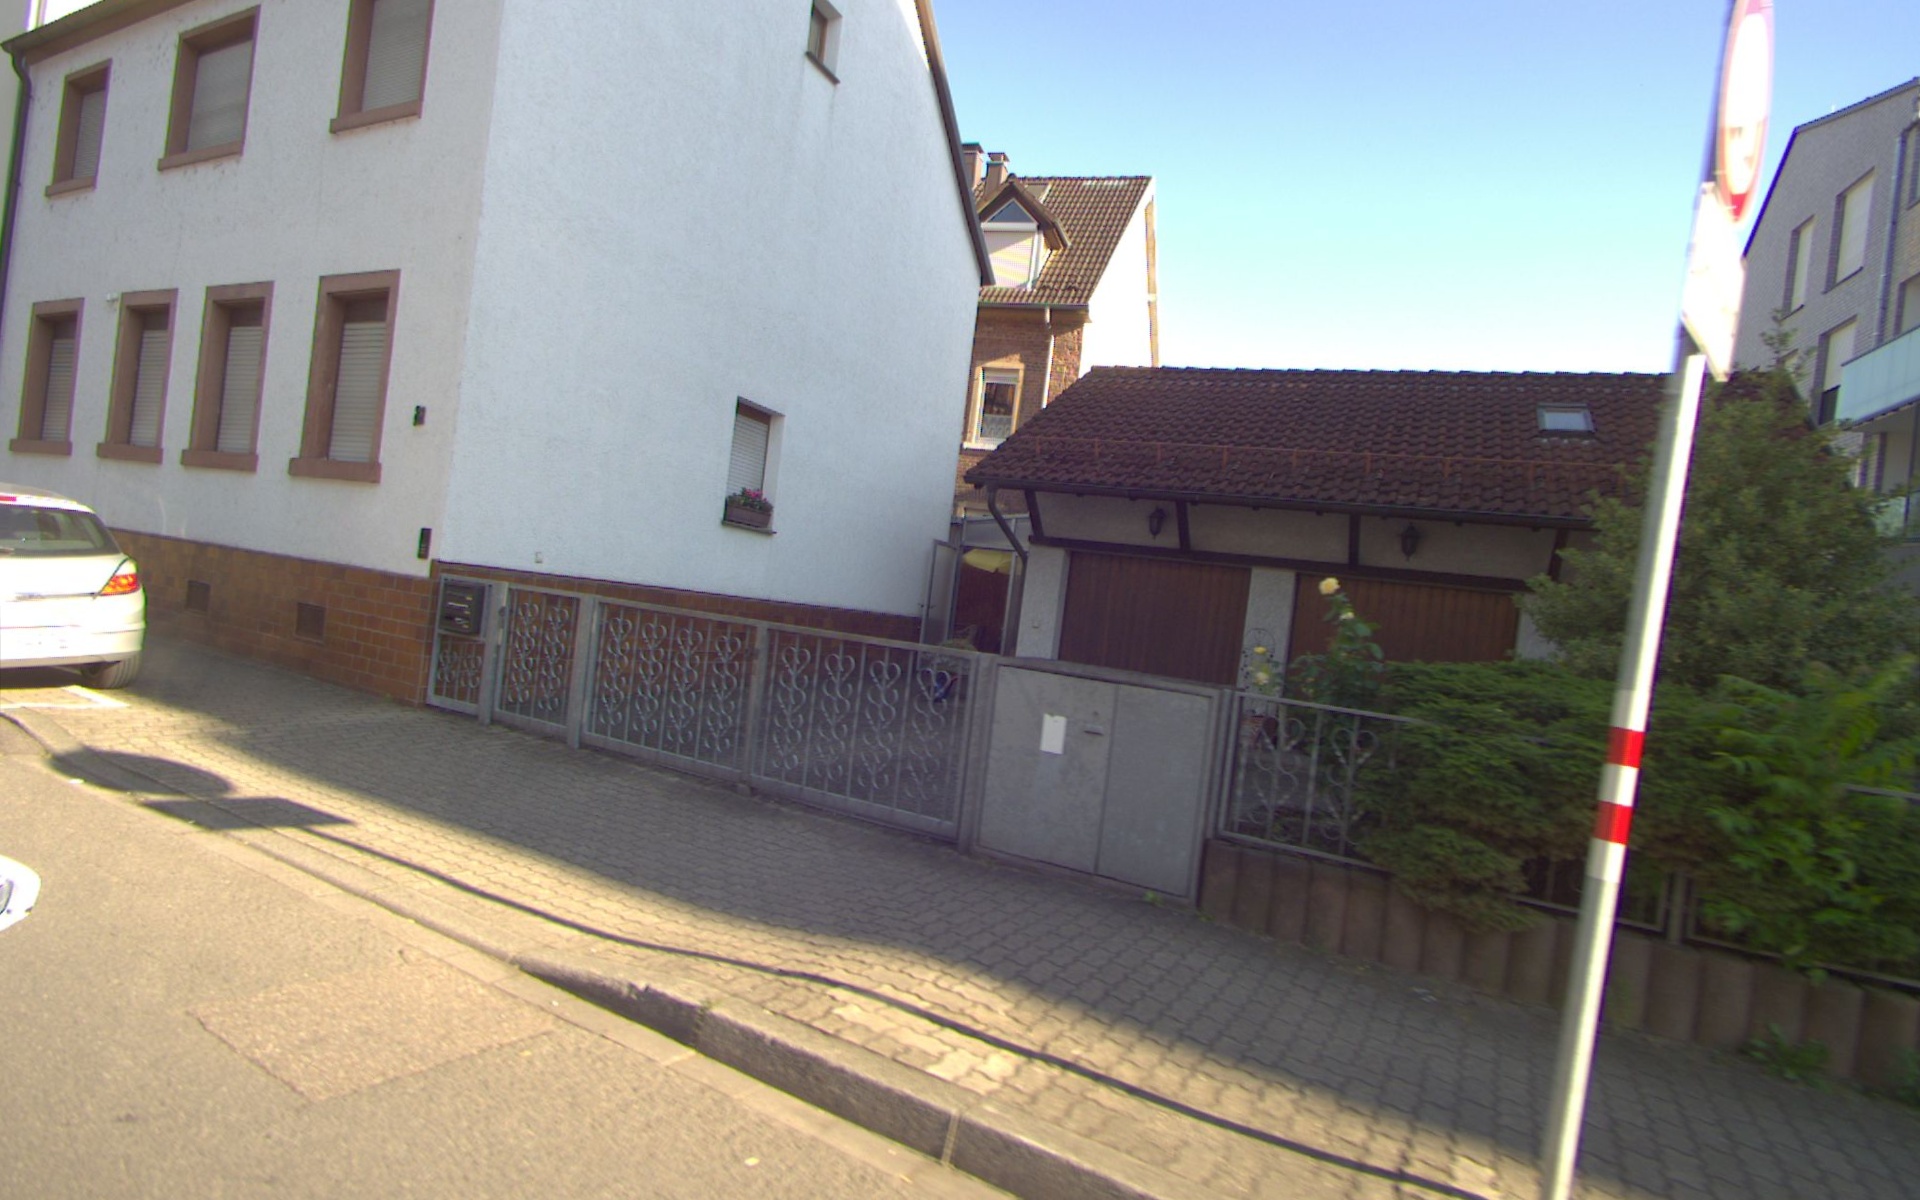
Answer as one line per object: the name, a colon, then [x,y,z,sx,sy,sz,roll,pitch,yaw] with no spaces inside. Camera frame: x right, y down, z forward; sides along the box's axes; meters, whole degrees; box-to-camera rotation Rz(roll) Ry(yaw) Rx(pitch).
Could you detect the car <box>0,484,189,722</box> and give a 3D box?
car: [-7.953,-0.193,7.611,4.363,1.511,1.743,7,1,30]
